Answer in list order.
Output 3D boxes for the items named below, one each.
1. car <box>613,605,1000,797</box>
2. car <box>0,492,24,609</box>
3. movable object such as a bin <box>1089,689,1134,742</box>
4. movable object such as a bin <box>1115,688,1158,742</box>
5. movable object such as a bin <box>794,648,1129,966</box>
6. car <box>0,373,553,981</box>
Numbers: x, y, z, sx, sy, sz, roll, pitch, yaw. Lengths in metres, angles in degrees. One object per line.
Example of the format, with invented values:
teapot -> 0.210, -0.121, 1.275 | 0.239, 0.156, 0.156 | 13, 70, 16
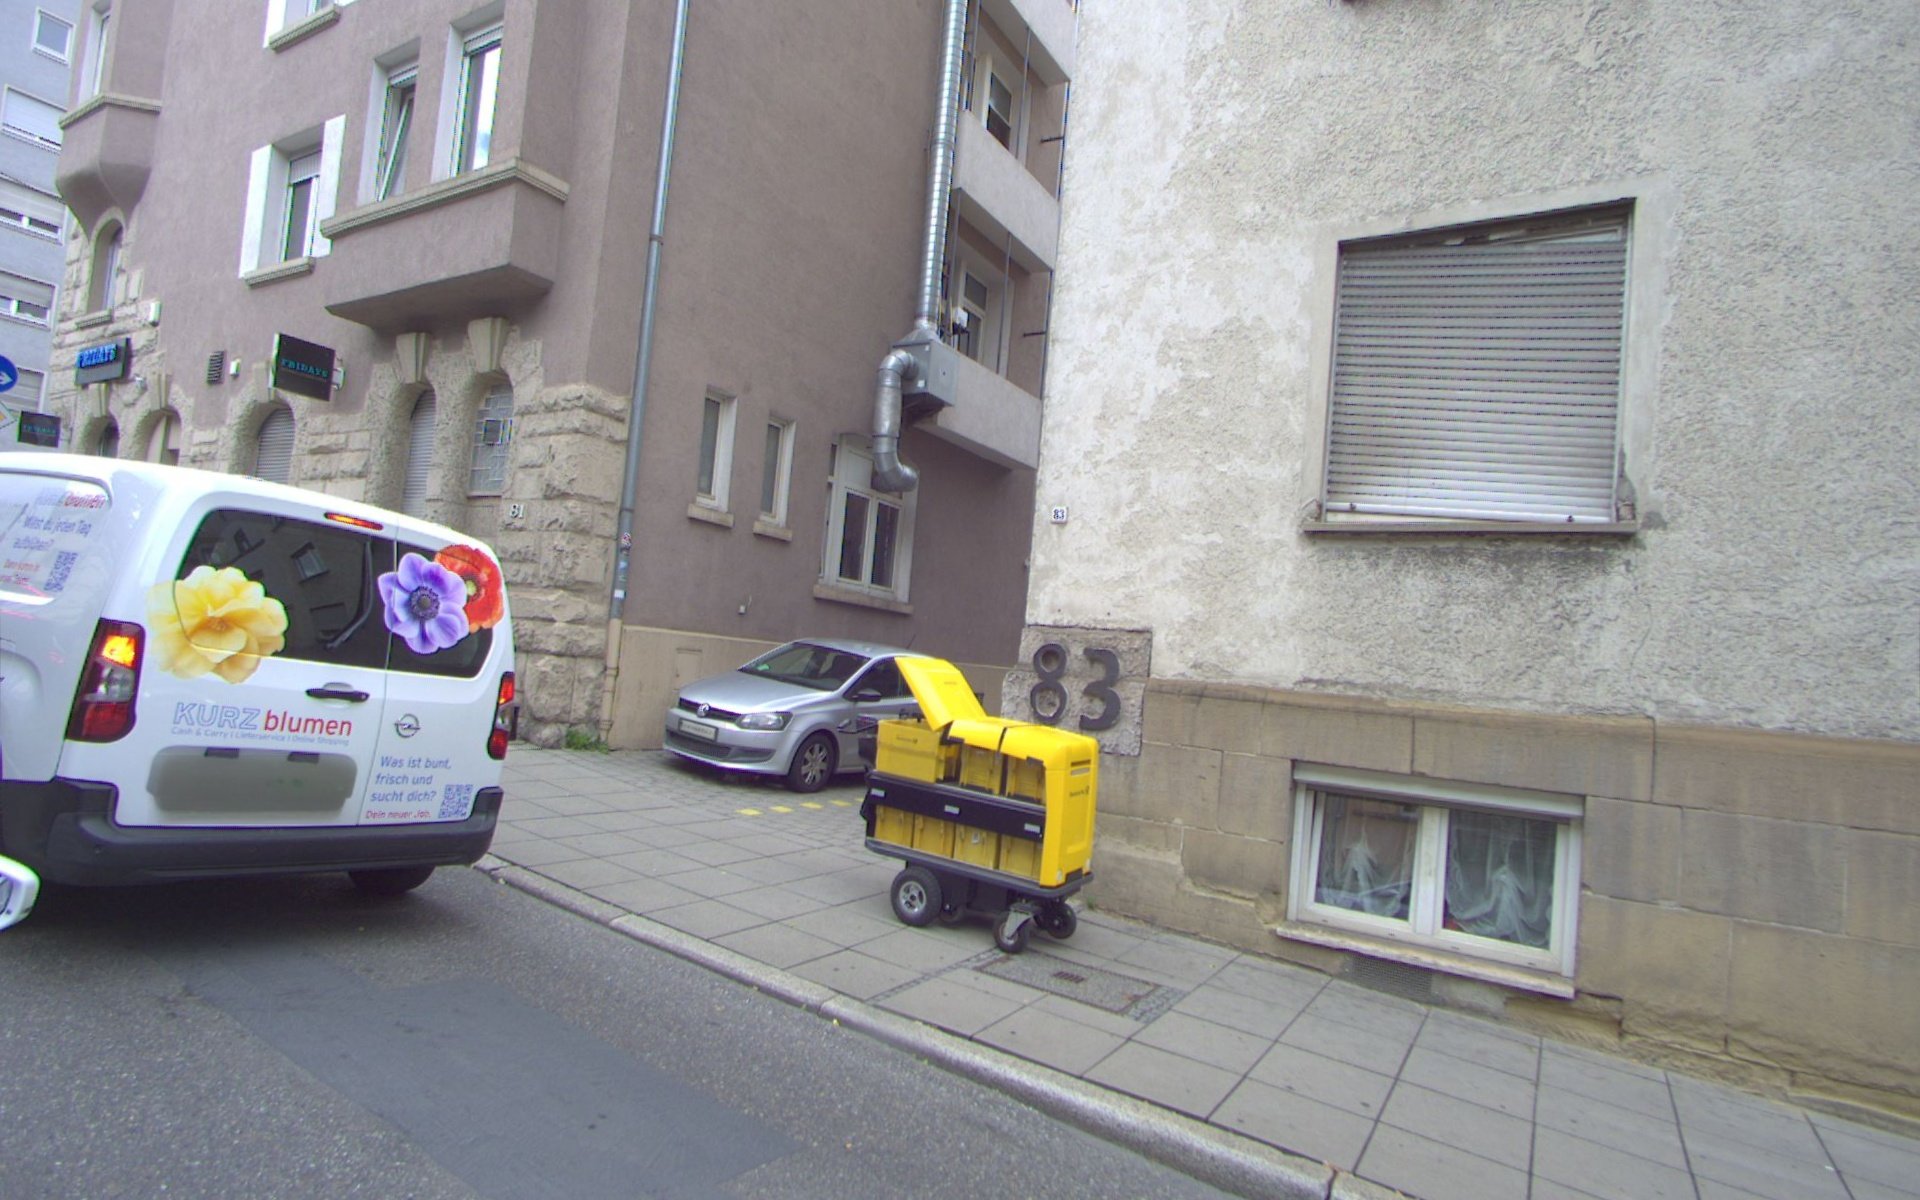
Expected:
car -> -1.419, 1.102, 10.802 | 1.770, 1.419, 3.996 | 9, -1, 32
car -> -9.802, -0.360, 8.470 | 3.571, 1.609, 1.758 | 6, -5, 32
movable object such as a bin -> 3.141, 2.398, 20.857 | 0.626, 0.997, 0.572 | 7, -1, 31
movable object such as a bin -> 3.829, 2.483, 21.778 | 0.644, 1.073, 0.572 | 7, -1, 31
movable object such as a bin -> -0.007, 1.097, 5.813 | 1.665, 1.437, 0.720 | 6, -1, 30
car -> -4.446, 0.208, 5.192 | 4.944, 1.844, 1.852 | 4, -4, 36
